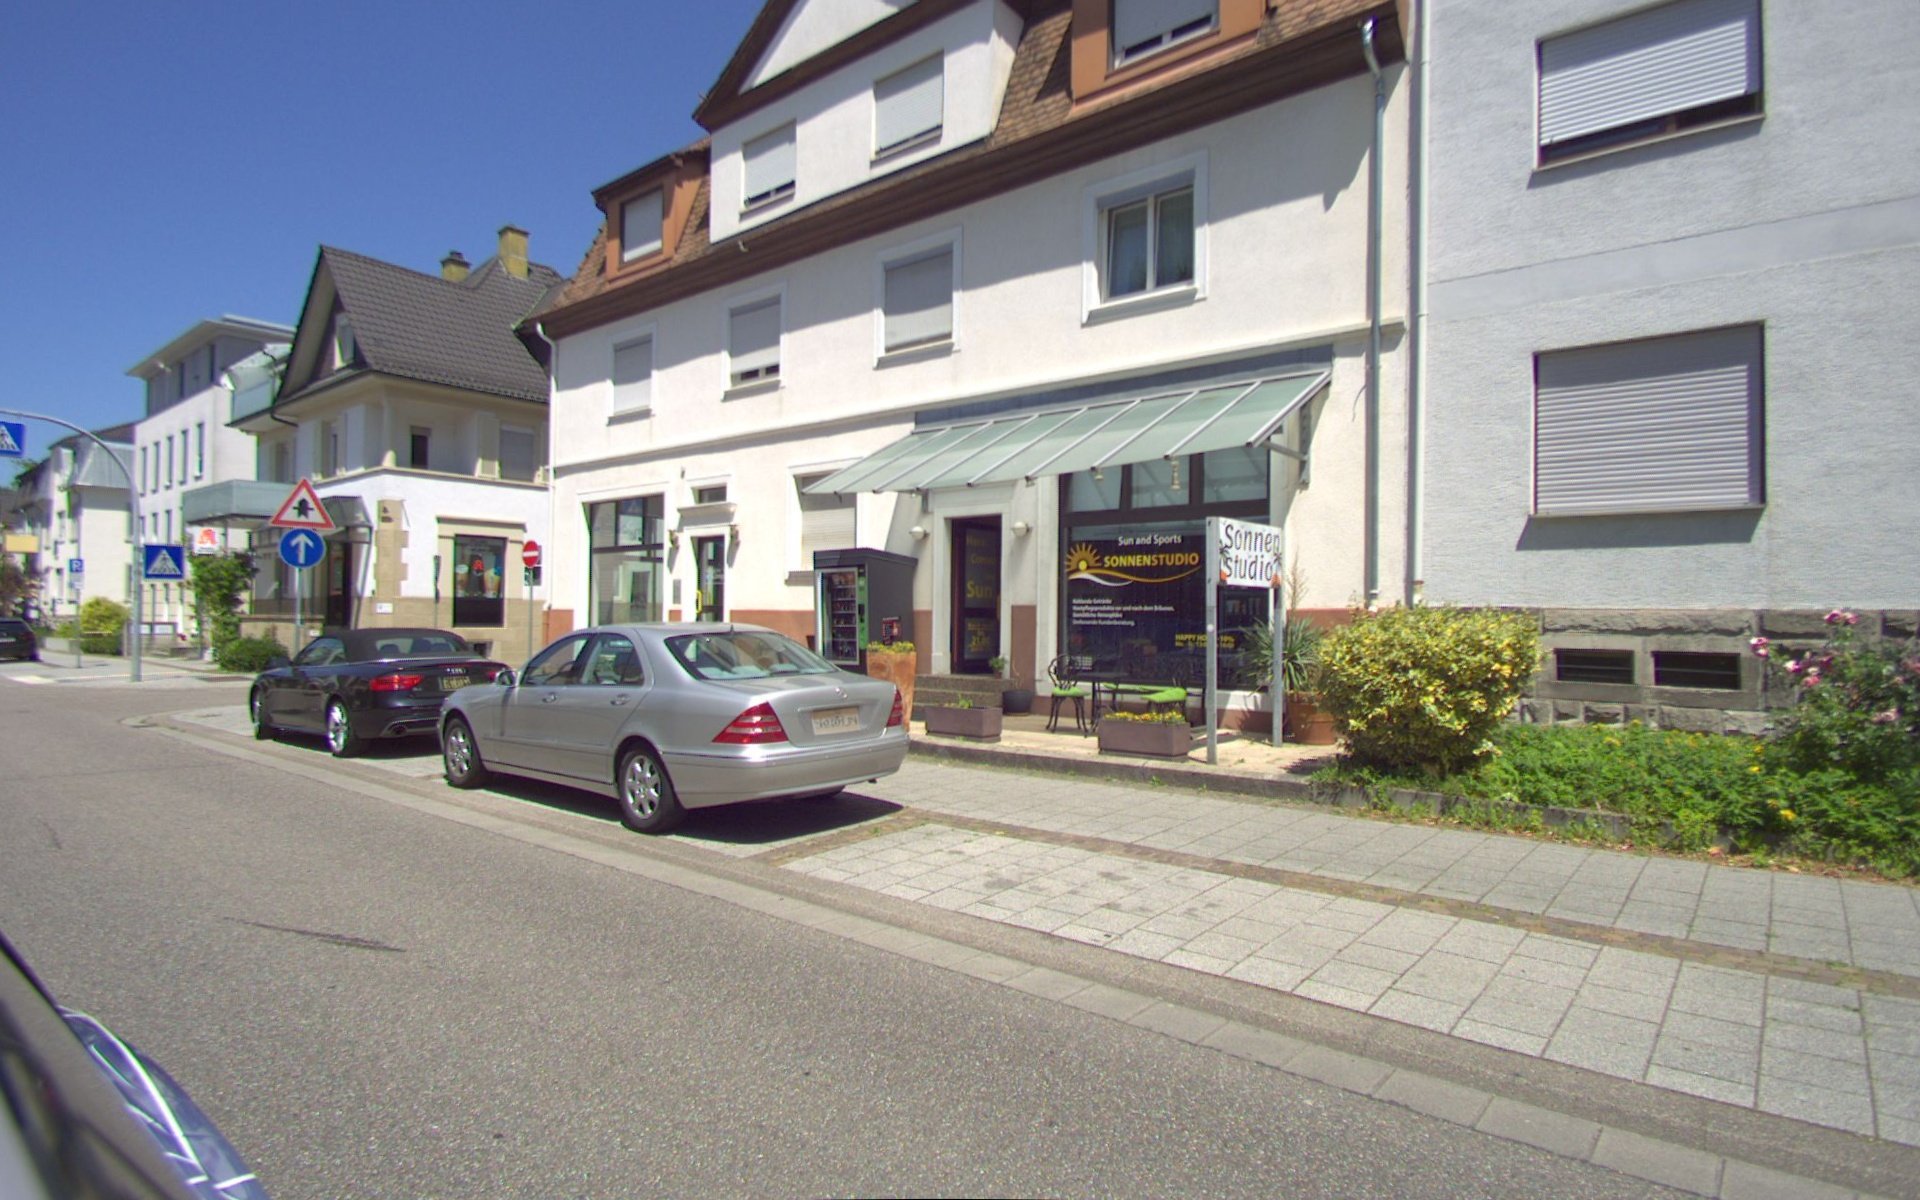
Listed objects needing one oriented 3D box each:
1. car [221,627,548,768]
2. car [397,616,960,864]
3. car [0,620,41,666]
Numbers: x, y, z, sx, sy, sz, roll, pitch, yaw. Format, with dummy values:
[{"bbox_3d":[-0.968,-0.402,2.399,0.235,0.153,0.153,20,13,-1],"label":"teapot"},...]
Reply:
[{"bbox_3d":[-7.257,1.032,12.502,5.095,1.384,1.922,-1,-2,41],"label":"car"},{"bbox_3d":[-2.661,0.886,8.546,5.354,1.463,1.960,-1,-1,41],"label":"car"},{"bbox_3d":[-32.920,1.442,34.360,5.146,1.463,1.897,-1,1,41],"label":"car"}]
